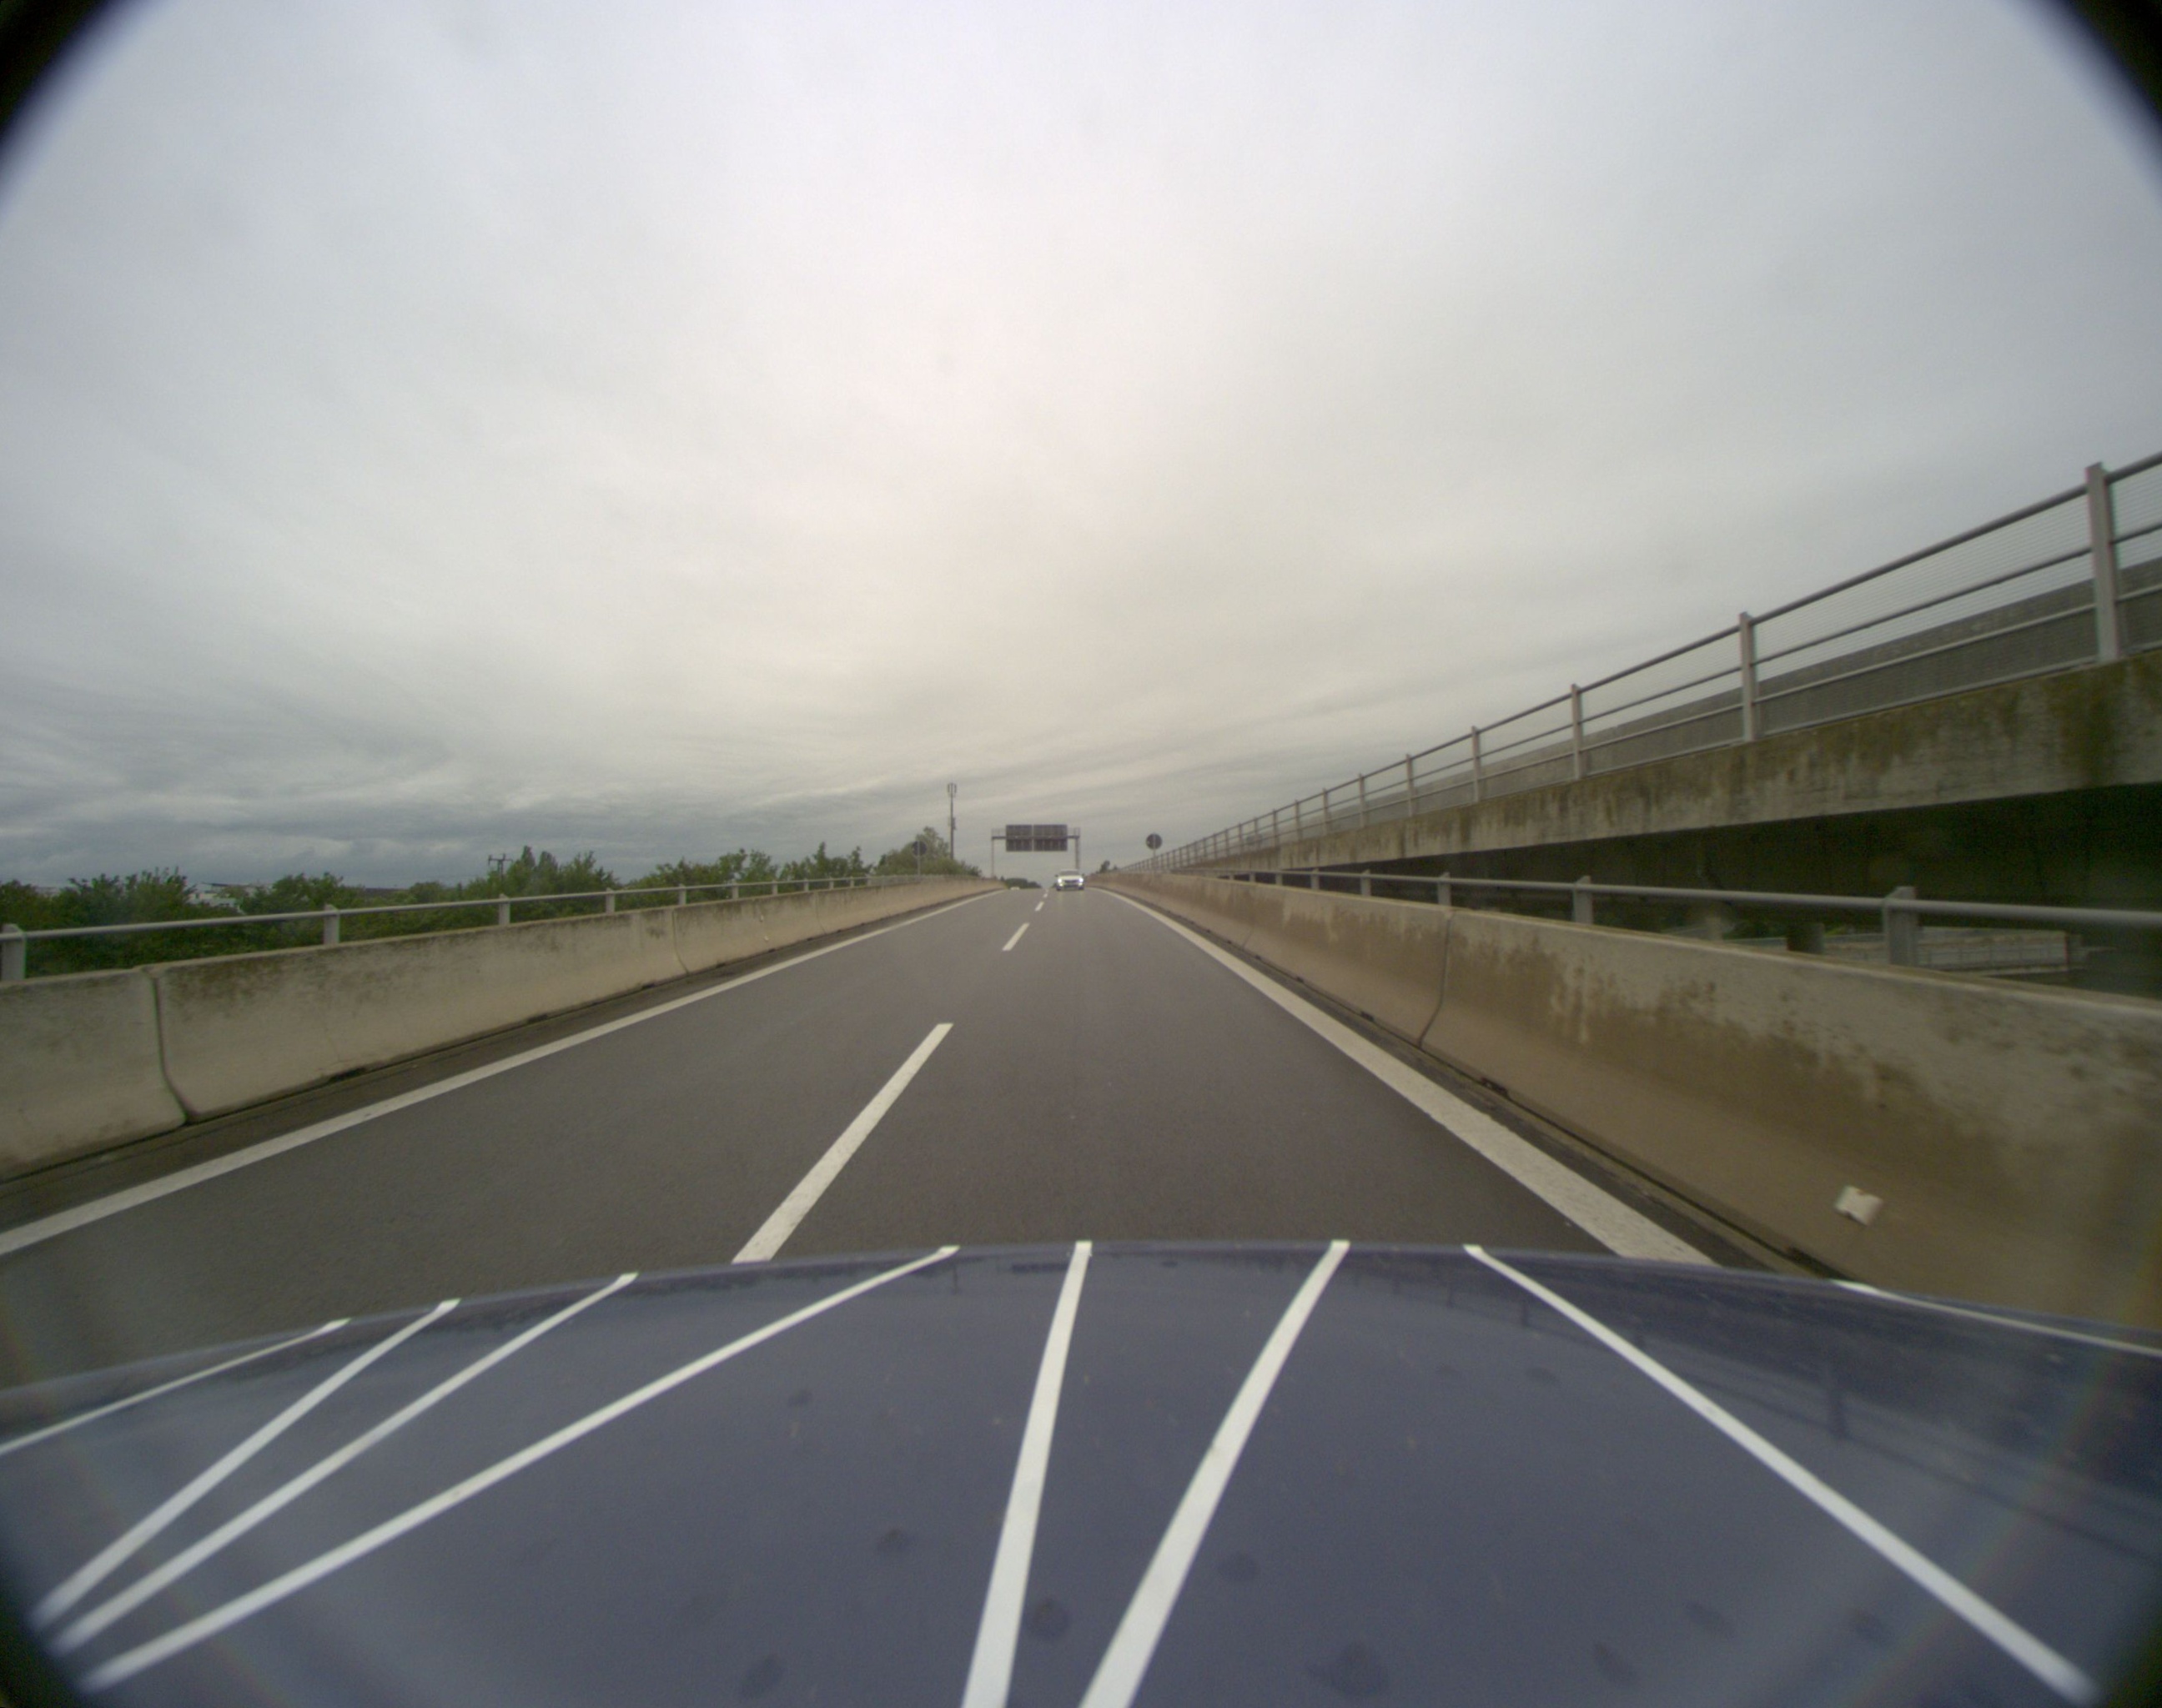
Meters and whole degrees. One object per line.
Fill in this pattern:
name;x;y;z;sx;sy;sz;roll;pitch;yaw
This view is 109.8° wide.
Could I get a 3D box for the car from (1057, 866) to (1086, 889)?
car;-0.626;1.589;51.921;1.915;1.439;4.556;0;0;-1
